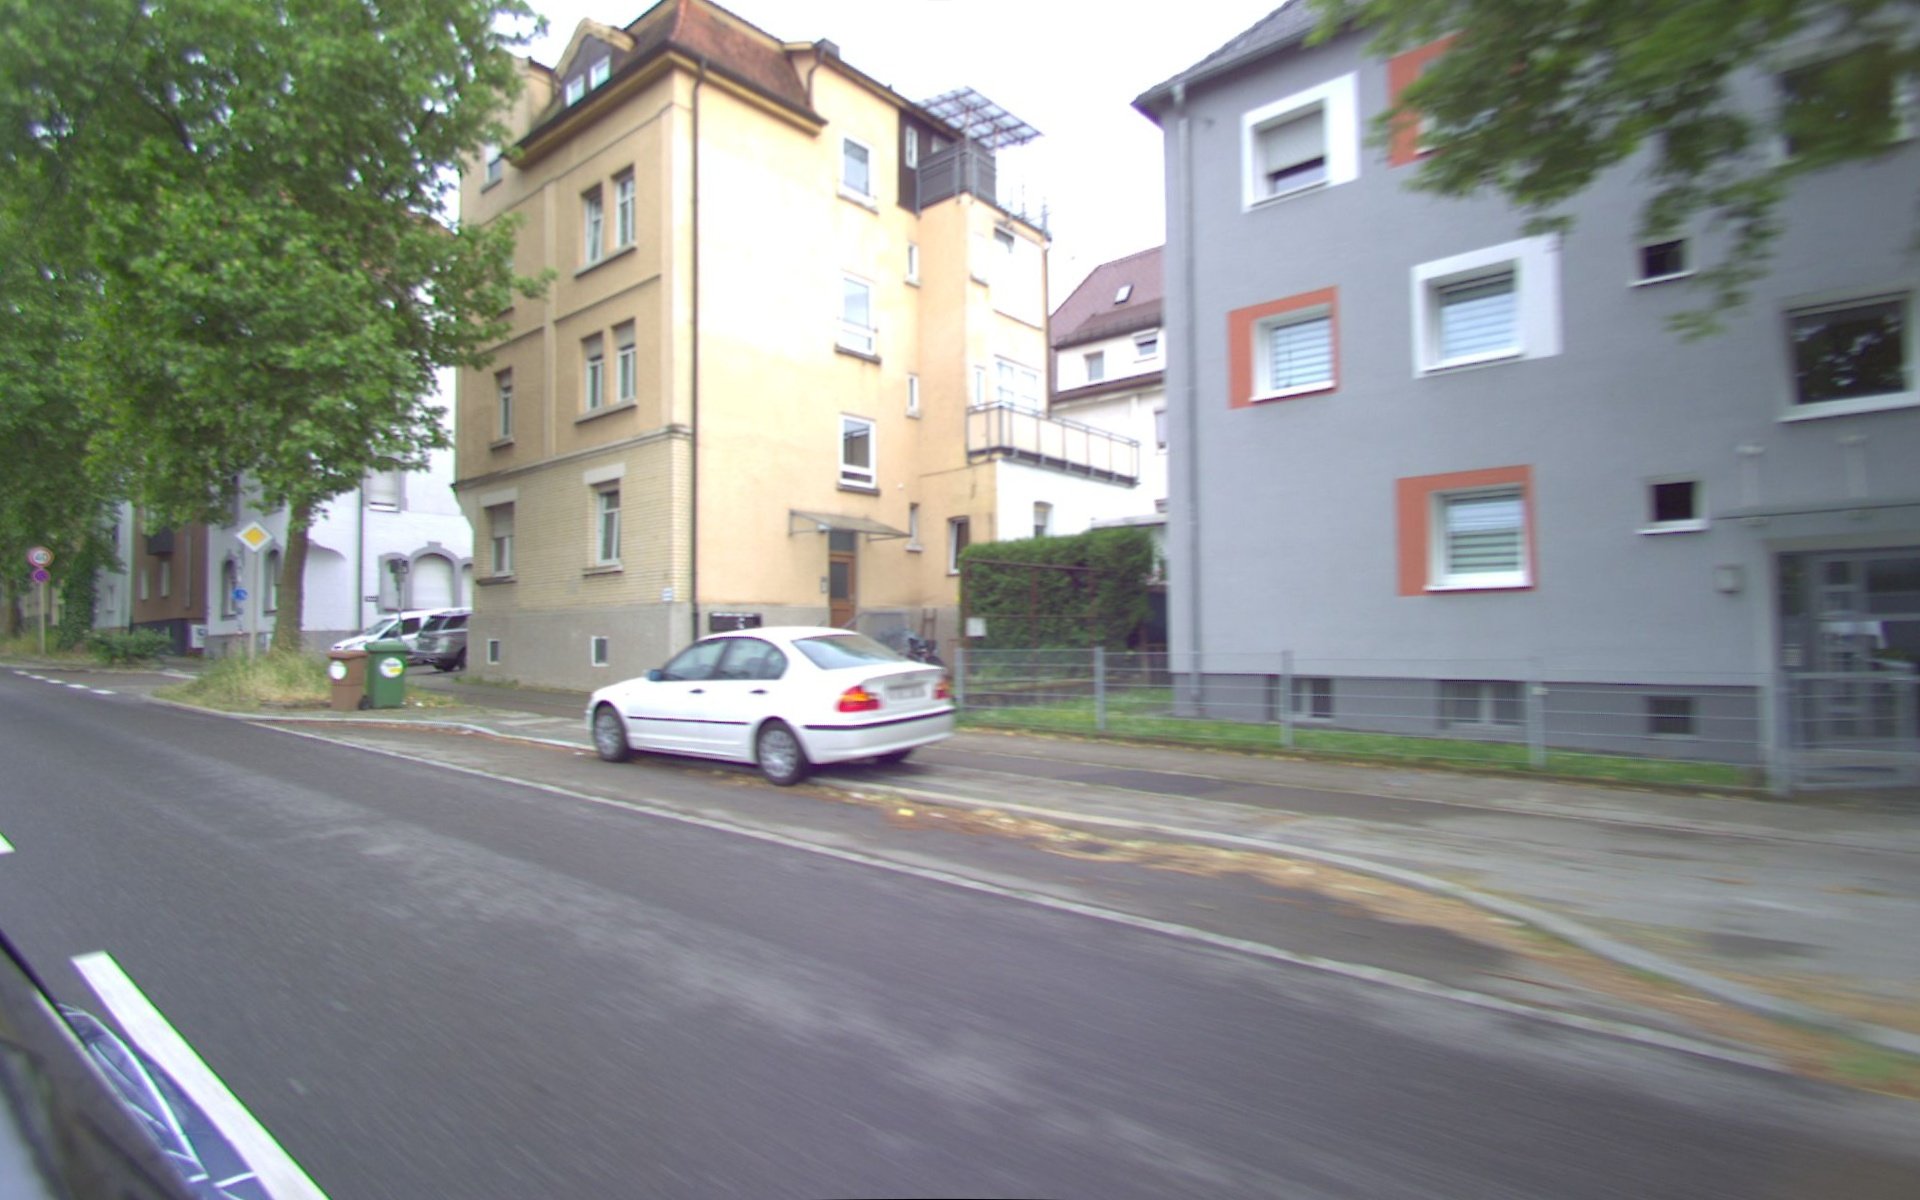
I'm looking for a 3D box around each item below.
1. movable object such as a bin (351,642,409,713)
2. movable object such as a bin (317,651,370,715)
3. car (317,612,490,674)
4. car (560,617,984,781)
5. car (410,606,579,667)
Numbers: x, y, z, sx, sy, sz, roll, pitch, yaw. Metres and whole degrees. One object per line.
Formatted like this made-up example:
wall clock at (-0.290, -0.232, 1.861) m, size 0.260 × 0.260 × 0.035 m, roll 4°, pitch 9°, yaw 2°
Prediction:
movable object such as a bin at (-9.140, 1.212, 15.942) m, size 0.762 × 1.065 × 0.529 m, roll 0°, pitch -3°, yaw 41°
movable object such as a bin at (-9.400, 1.252, 15.430) m, size 0.581 × 0.935 × 0.507 m, roll 0°, pitch -3°, yaw 41°
car at (-18.373, 1.355, 33.602) m, size 2.019 × 1.791 × 4.623 m, roll -1°, pitch 0°, yaw 40°
car at (-2.089, 0.859, 10.444) m, size 4.532 × 1.336 × 1.739 m, roll -1°, pitch -1°, yaw 38°
car at (-13.680, 1.012, 29.862) m, size 2.044 × 1.623 × 4.069 m, roll 0°, pitch 0°, yaw 43°
